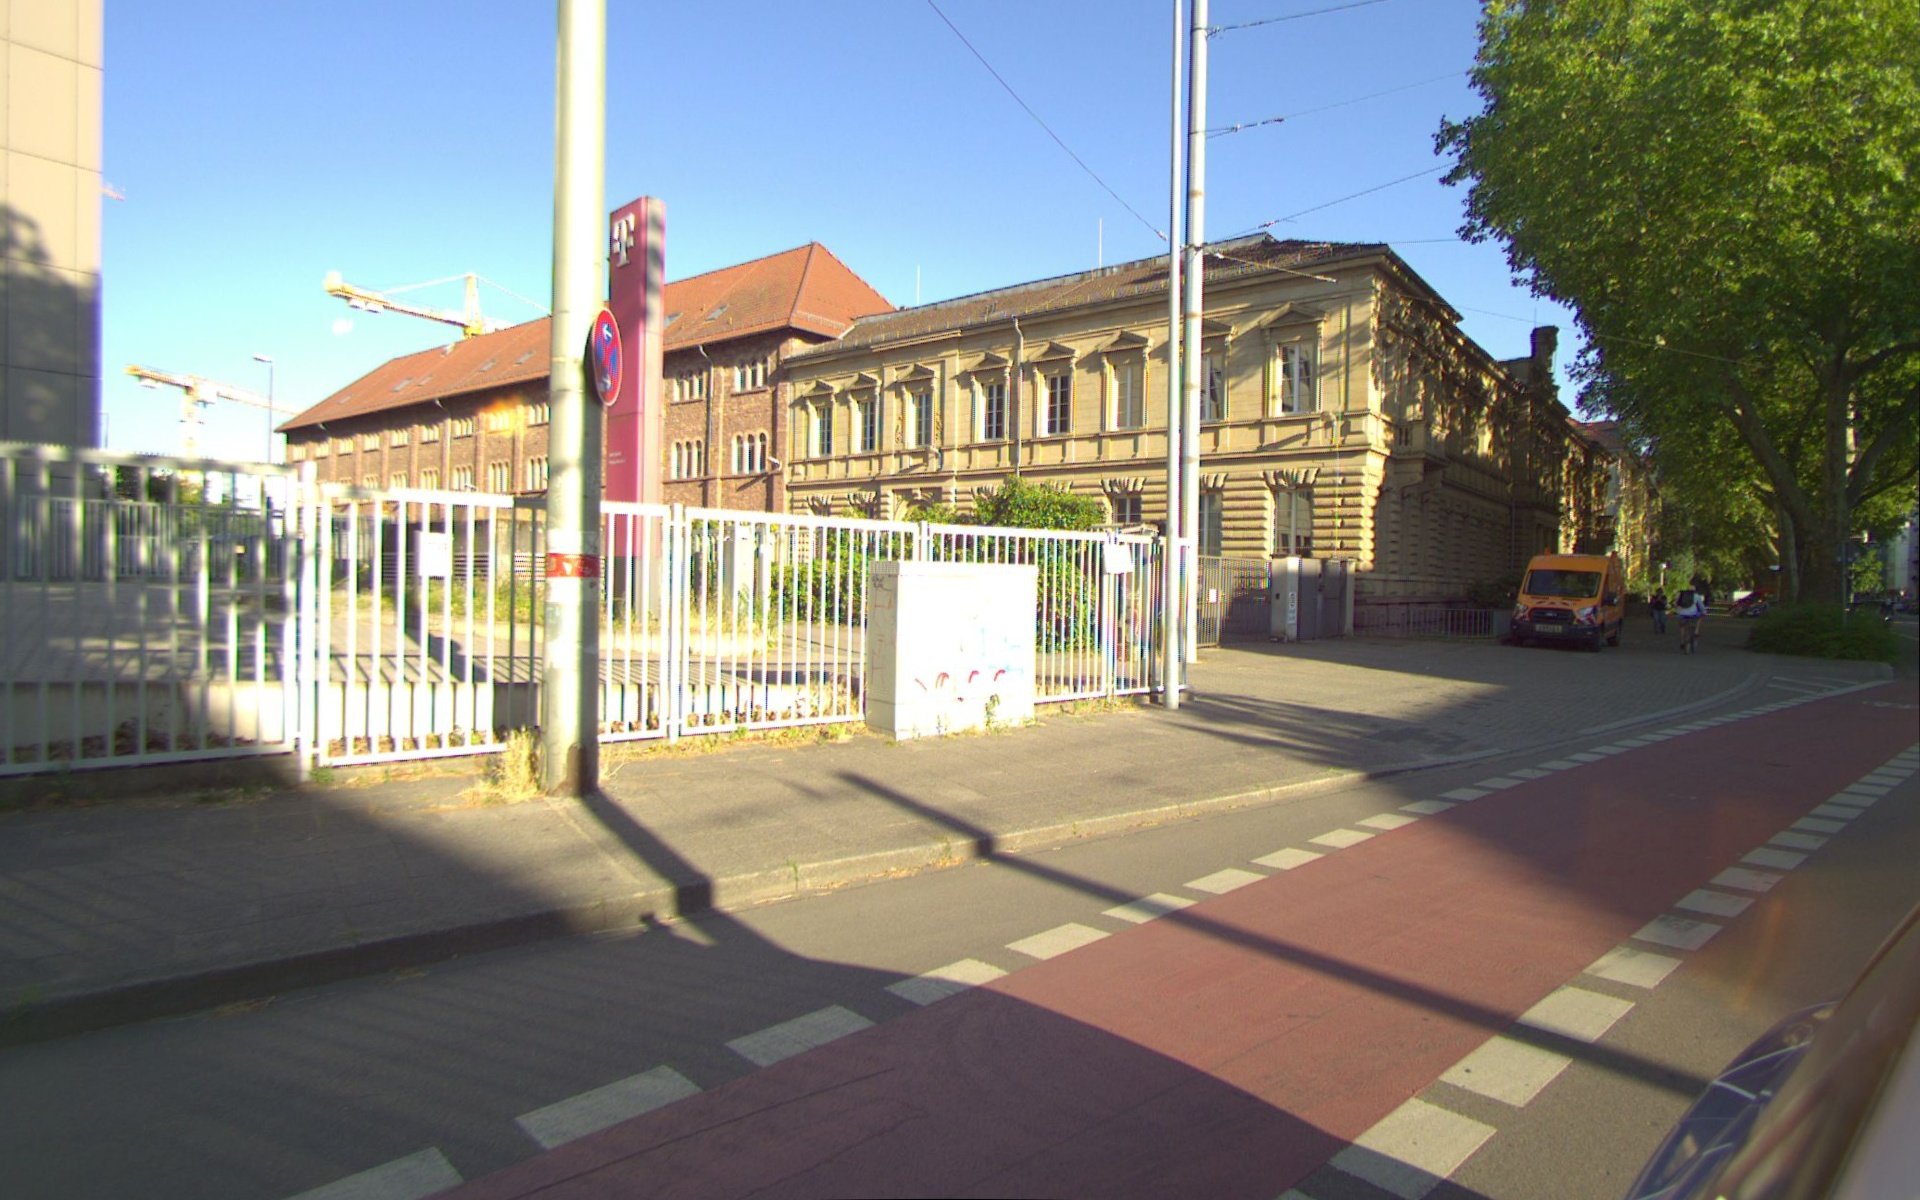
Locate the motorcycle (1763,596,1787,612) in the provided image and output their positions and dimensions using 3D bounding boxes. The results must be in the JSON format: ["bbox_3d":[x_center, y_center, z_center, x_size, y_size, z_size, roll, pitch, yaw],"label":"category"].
[{"bbox_3d":[56.840,0.272,70.582,1.248,1.067,0.395,1,1,3],"label":"motorcycle"}]

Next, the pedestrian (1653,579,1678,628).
[{"bbox_3d":[26.263,0.126,37.683,0.650,1.757,0.993,2,1,39],"label":"pedestrian"}]

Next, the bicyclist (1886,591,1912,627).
[{"bbox_3d":[39.571,0.360,42.641,0.712,1.461,0.940,2,1,39],"label":"bicyclist"}]

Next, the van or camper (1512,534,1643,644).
[{"bbox_3d":[16.453,-0.308,26.822,2.034,2.591,5.688,2,2,41],"label":"van or camper"}]

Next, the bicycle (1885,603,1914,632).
[{"bbox_3d":[39.532,0.735,42.601,0.712,1.151,2.090,2,2,39],"label":"bicycle"}]

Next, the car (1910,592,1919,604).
[{"bbox_3d":[132.175,-0.259,139.203,1.800,1.563,3.865,-1,0,38],"label":"car"}]

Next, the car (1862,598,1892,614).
[{"bbox_3d":[83.882,0.533,92.637,1.731,1.390,3.865,0,0,38],"label":"car"}]

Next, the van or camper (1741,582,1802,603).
[{"bbox_3d":[106.368,-0.994,132.702,6.076,2.461,2.393,2,2,40],"label":"van or camper"}]

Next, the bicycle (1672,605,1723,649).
[{"bbox_3d":[18.872,0.668,25.894,1.869,1.044,0.675,0,4,-44],"label":"bicycle"}]

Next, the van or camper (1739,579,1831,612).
[{"bbox_3d":[69.904,-0.443,85.877,5.900,2.527,2.192,2,4,38],"label":"van or camper"}]

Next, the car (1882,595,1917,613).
[{"bbox_3d":[74.820,0.314,80.632,1.731,1.390,3.865,0,0,38],"label":"car"}]

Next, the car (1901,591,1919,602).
[{"bbox_3d":[138.406,-0.496,147.158,1.799,1.563,3.867,0,0,36],"label":"car"}]

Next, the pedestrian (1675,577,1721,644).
[{"bbox_3d":[18.866,0.251,25.859,1.084,1.638,0.670,0,4,-44],"label":"pedestrian"}]
